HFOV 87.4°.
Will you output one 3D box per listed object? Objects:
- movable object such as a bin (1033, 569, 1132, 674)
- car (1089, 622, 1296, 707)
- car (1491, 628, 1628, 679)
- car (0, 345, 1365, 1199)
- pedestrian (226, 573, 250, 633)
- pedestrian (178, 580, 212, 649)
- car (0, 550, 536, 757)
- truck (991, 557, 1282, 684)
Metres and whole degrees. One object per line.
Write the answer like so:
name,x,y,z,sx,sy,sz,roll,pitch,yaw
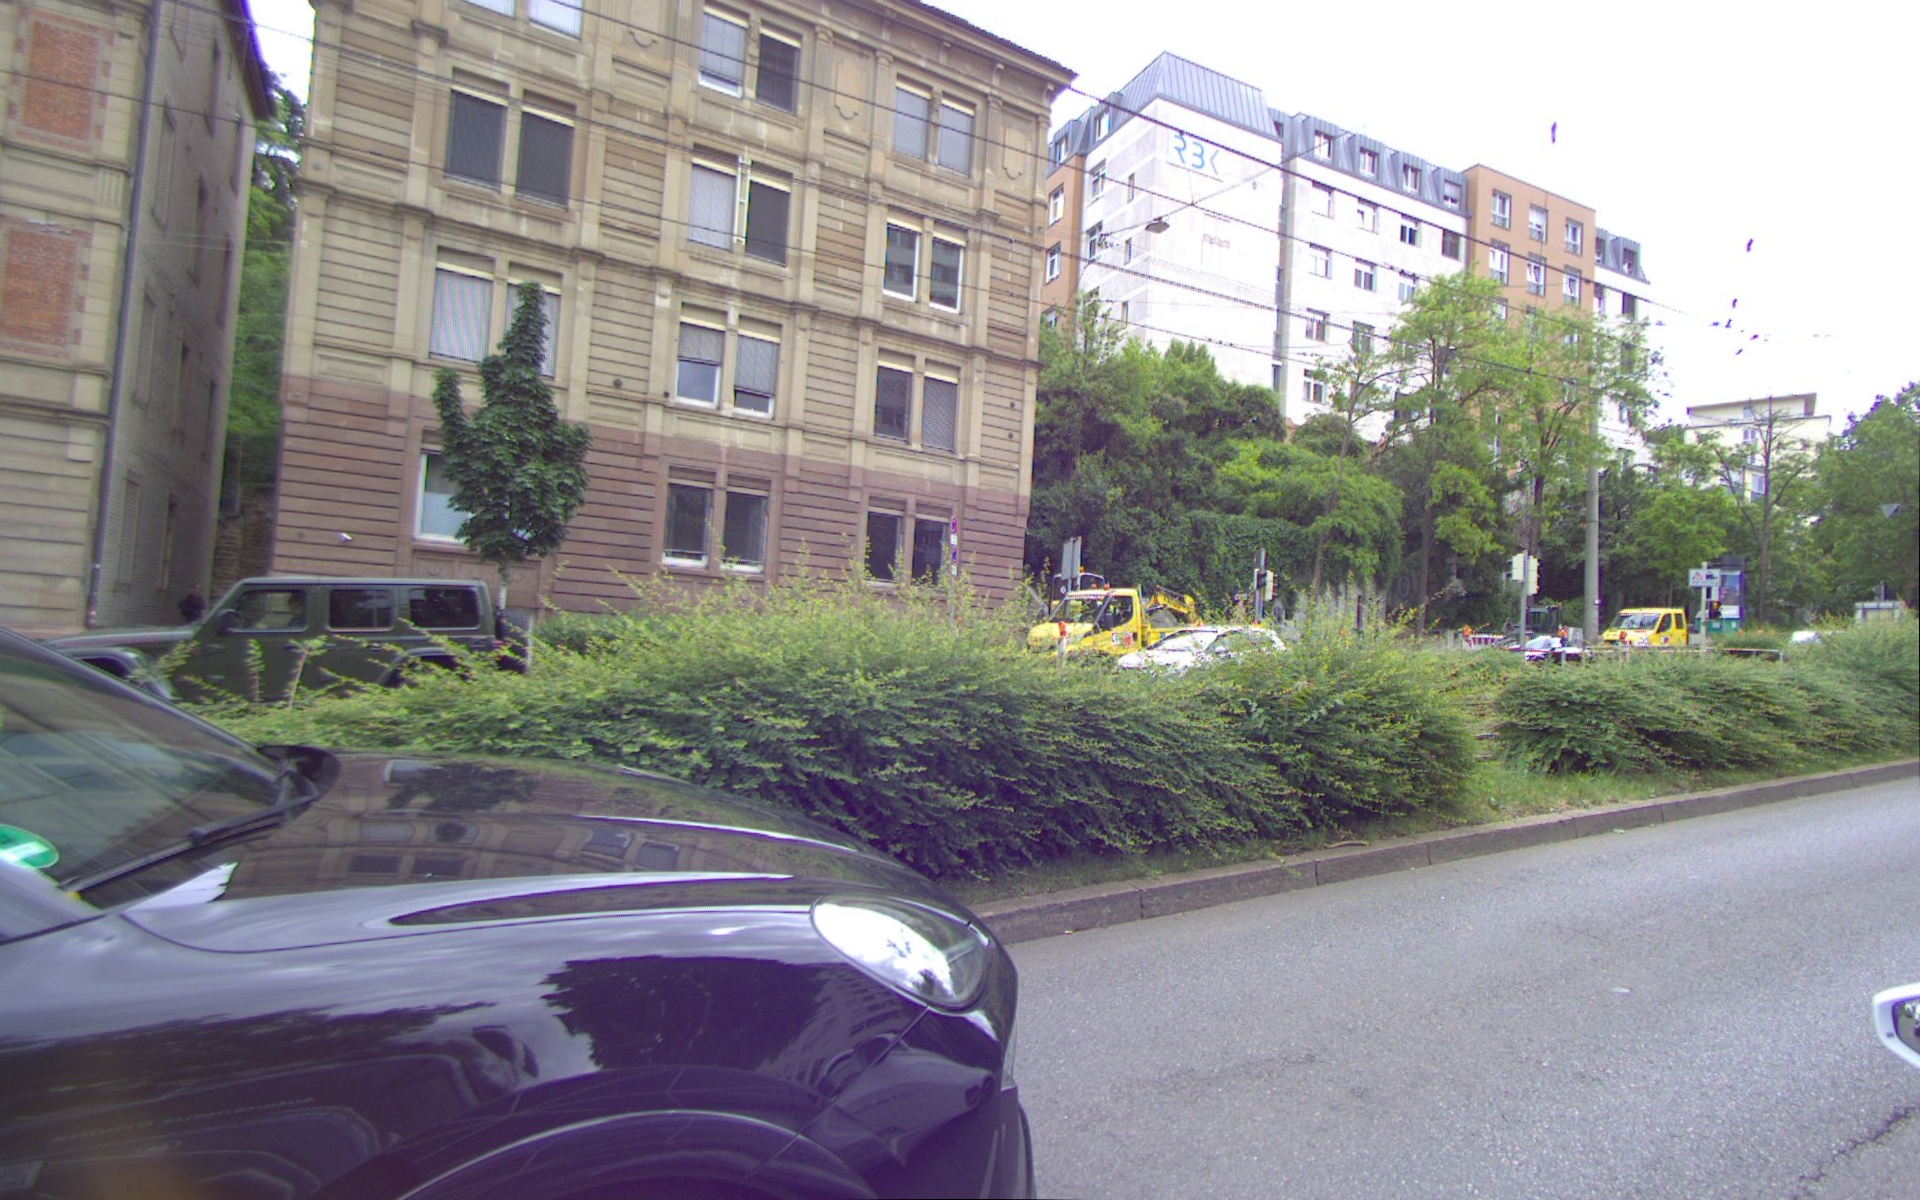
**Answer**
movable object such as a bin,3.508,0.649,28.943,2.010,2.875,1.980,2,-2,-36
car,4.659,1.222,19.946,4.024,1.507,1.729,2,-1,-34
car,17.247,1.519,28.845,4.020,1.340,1.731,2,-2,-32
car,-1.893,0.622,1.298,4.726,1.707,2.018,3,-2,-31
pedestrian,-21.752,0.097,30.265,0.486,1.761,0.514,1,-2,-31
pedestrian,-18.731,0.362,24.598,0.554,1.675,0.618,1,-2,-31
car,-7.377,0.616,11.233,4.591,1.900,1.889,3,-3,-32
truck,4.423,0.613,24.246,7.094,2.542,2.894,5,-3,-39
